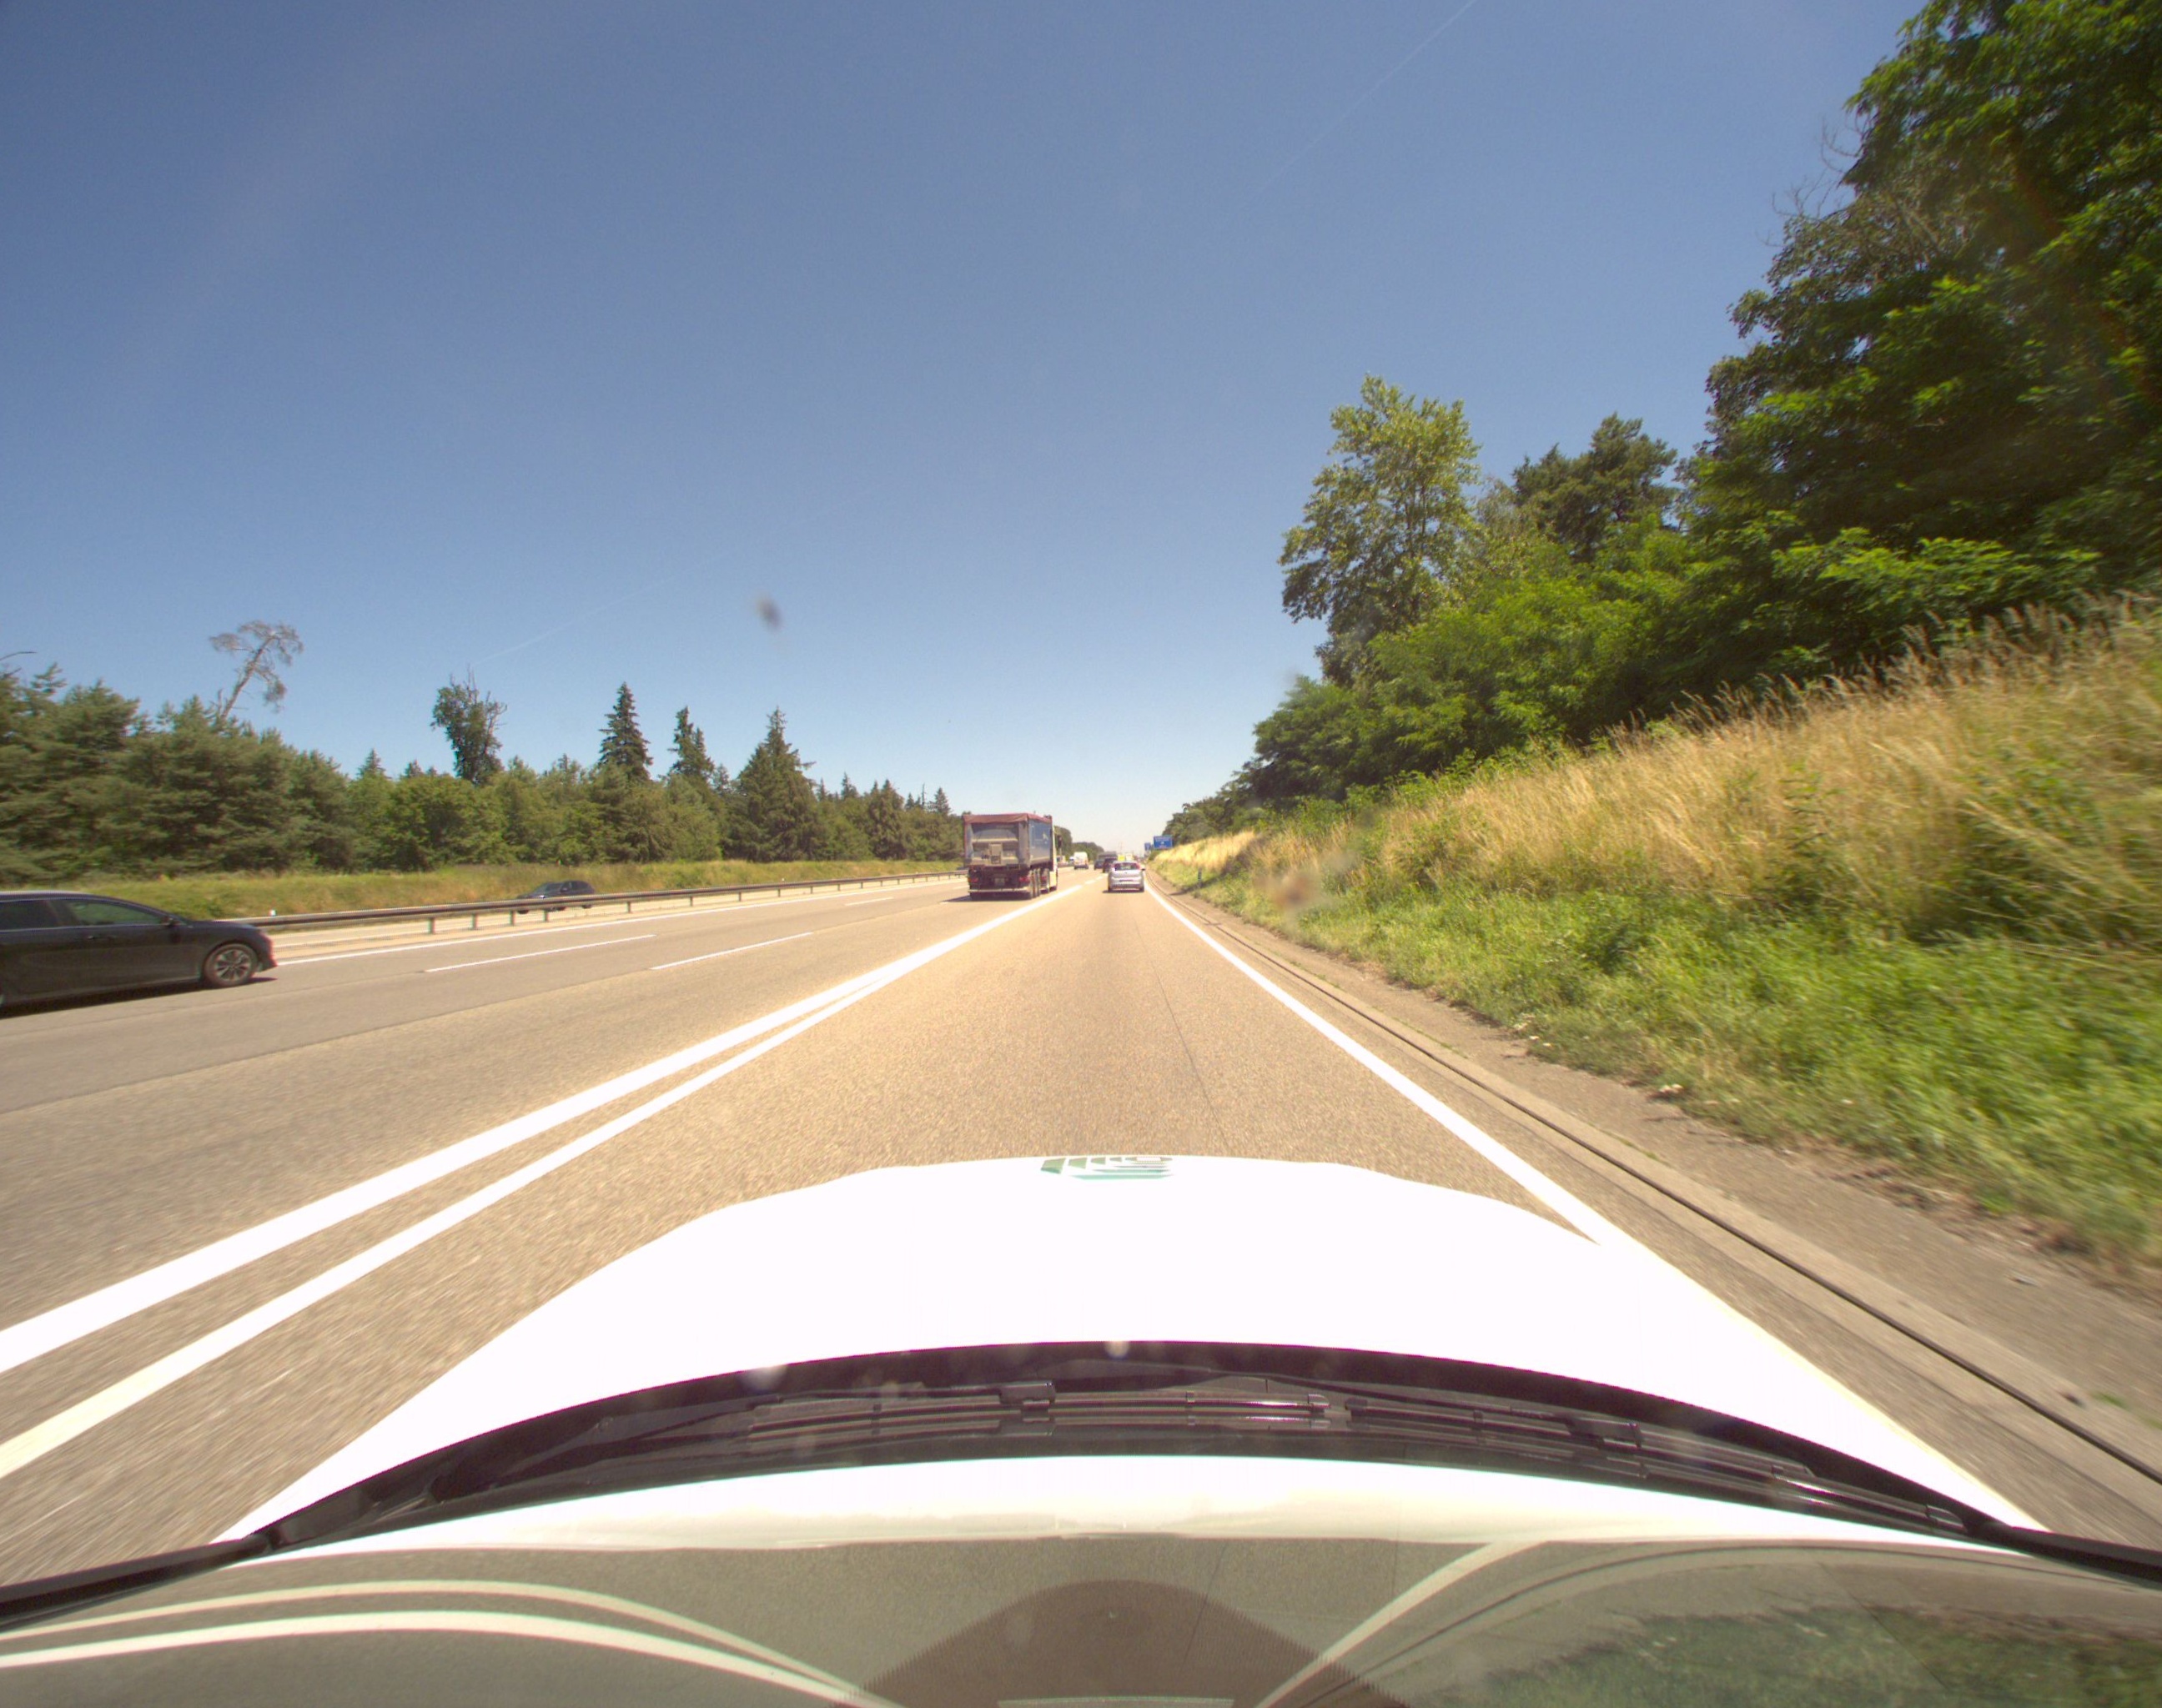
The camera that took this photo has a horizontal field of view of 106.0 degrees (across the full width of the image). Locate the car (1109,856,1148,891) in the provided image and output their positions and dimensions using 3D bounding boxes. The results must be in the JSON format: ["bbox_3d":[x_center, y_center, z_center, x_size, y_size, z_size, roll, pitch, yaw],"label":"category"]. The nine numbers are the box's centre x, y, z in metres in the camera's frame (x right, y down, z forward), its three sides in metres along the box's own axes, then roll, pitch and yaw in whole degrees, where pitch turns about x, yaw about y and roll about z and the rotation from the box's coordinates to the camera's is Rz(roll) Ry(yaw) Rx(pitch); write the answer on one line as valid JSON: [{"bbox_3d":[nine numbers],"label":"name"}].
[{"bbox_3d":[2.179,0.886,38.079,1.712,1.491,3.739,-1,0,2],"label":"car"}]

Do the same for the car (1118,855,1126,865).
[{"bbox_3d":[9.076,1.348,179.325,1.604,2.014,4.003,-1,0,3],"label":"car"}]

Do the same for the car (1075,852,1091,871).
[{"bbox_3d":[0.322,1.185,131.524,2.250,2.951,6.119,-1,0,3],"label":"car"}]

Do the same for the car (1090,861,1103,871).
[{"bbox_3d":[2.263,1.770,119.667,1.888,1.469,4.261,-1,0,0],"label":"car"}]

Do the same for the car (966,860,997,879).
[{"bbox_3d":[-8.559,1.273,70.177,1.696,1.474,4.602,-2,0,4],"label":"car"}]

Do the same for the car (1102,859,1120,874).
[{"bbox_3d":[3.459,1.422,93.195,1.822,1.672,4.007,-1,-1,6],"label":"car"}]

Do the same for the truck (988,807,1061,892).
[{"bbox_3d":[-2.603,-0.199,39.603,2.673,3.758,5.949,-2,0,3],"label":"truck"}]

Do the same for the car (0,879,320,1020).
[{"bbox_3d":[-12.791,1.133,10.083,1.824,1.431,5.004,-1,0,3],"label":"car"}]

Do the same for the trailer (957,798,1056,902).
[{"bbox_3d":[-2.908,-0.144,34.820,2.725,3.758,9.117,-2,0,3],"label":"trailer"}]

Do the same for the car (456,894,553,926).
[{"bbox_3d":[-30.718,2.970,43.573,1.781,1.420,4.442,-1,0,5],"label":"car"}]
